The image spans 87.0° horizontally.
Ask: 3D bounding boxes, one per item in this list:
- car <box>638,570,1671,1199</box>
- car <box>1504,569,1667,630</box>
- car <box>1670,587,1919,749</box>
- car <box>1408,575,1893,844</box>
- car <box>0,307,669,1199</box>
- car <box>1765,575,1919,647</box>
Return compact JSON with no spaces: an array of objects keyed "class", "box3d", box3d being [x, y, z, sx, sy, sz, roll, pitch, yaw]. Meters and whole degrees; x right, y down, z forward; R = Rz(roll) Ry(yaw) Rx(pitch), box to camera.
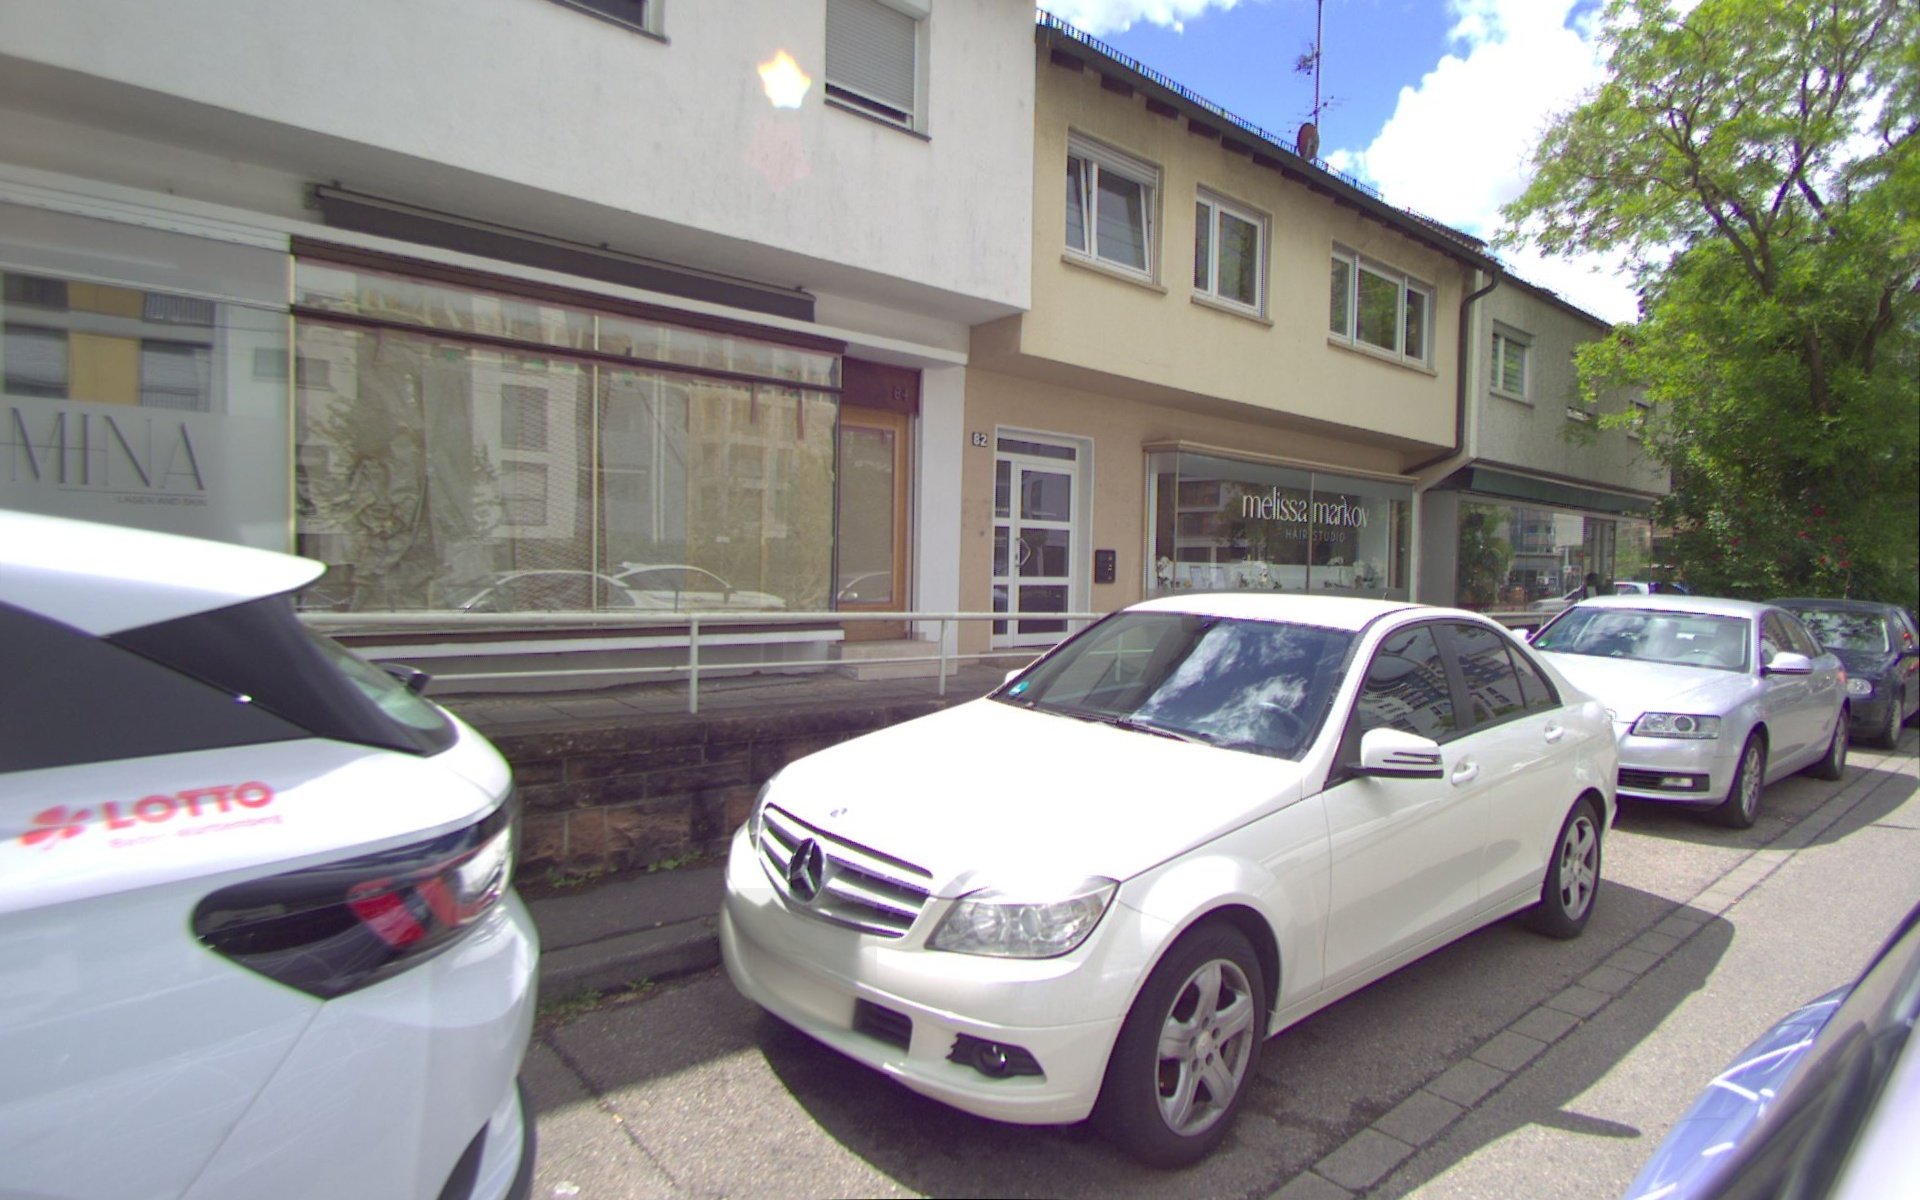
[{"class":"car","box3d":[1.160,0.643,4.078,4.367,1.444,1.728,0,2,-40]},{"class":"car","box3d":[18.836,-0.057,30.565,3.922,1.537,1.777,5,3,40]},{"class":"car","box3d":[9.775,0.620,11.430,3.967,1.481,1.818,0,2,-39]},{"class":"car","box3d":[5.645,0.600,7.996,4.822,1.517,1.818,0,2,-39]},{"class":"car","box3d":[-2.633,0.545,0.639,4.352,1.664,1.841,0,1,-41]},{"class":"car","box3d":[23.110,0.245,25.746,1.804,1.590,3.655,0,4,-29]}]
